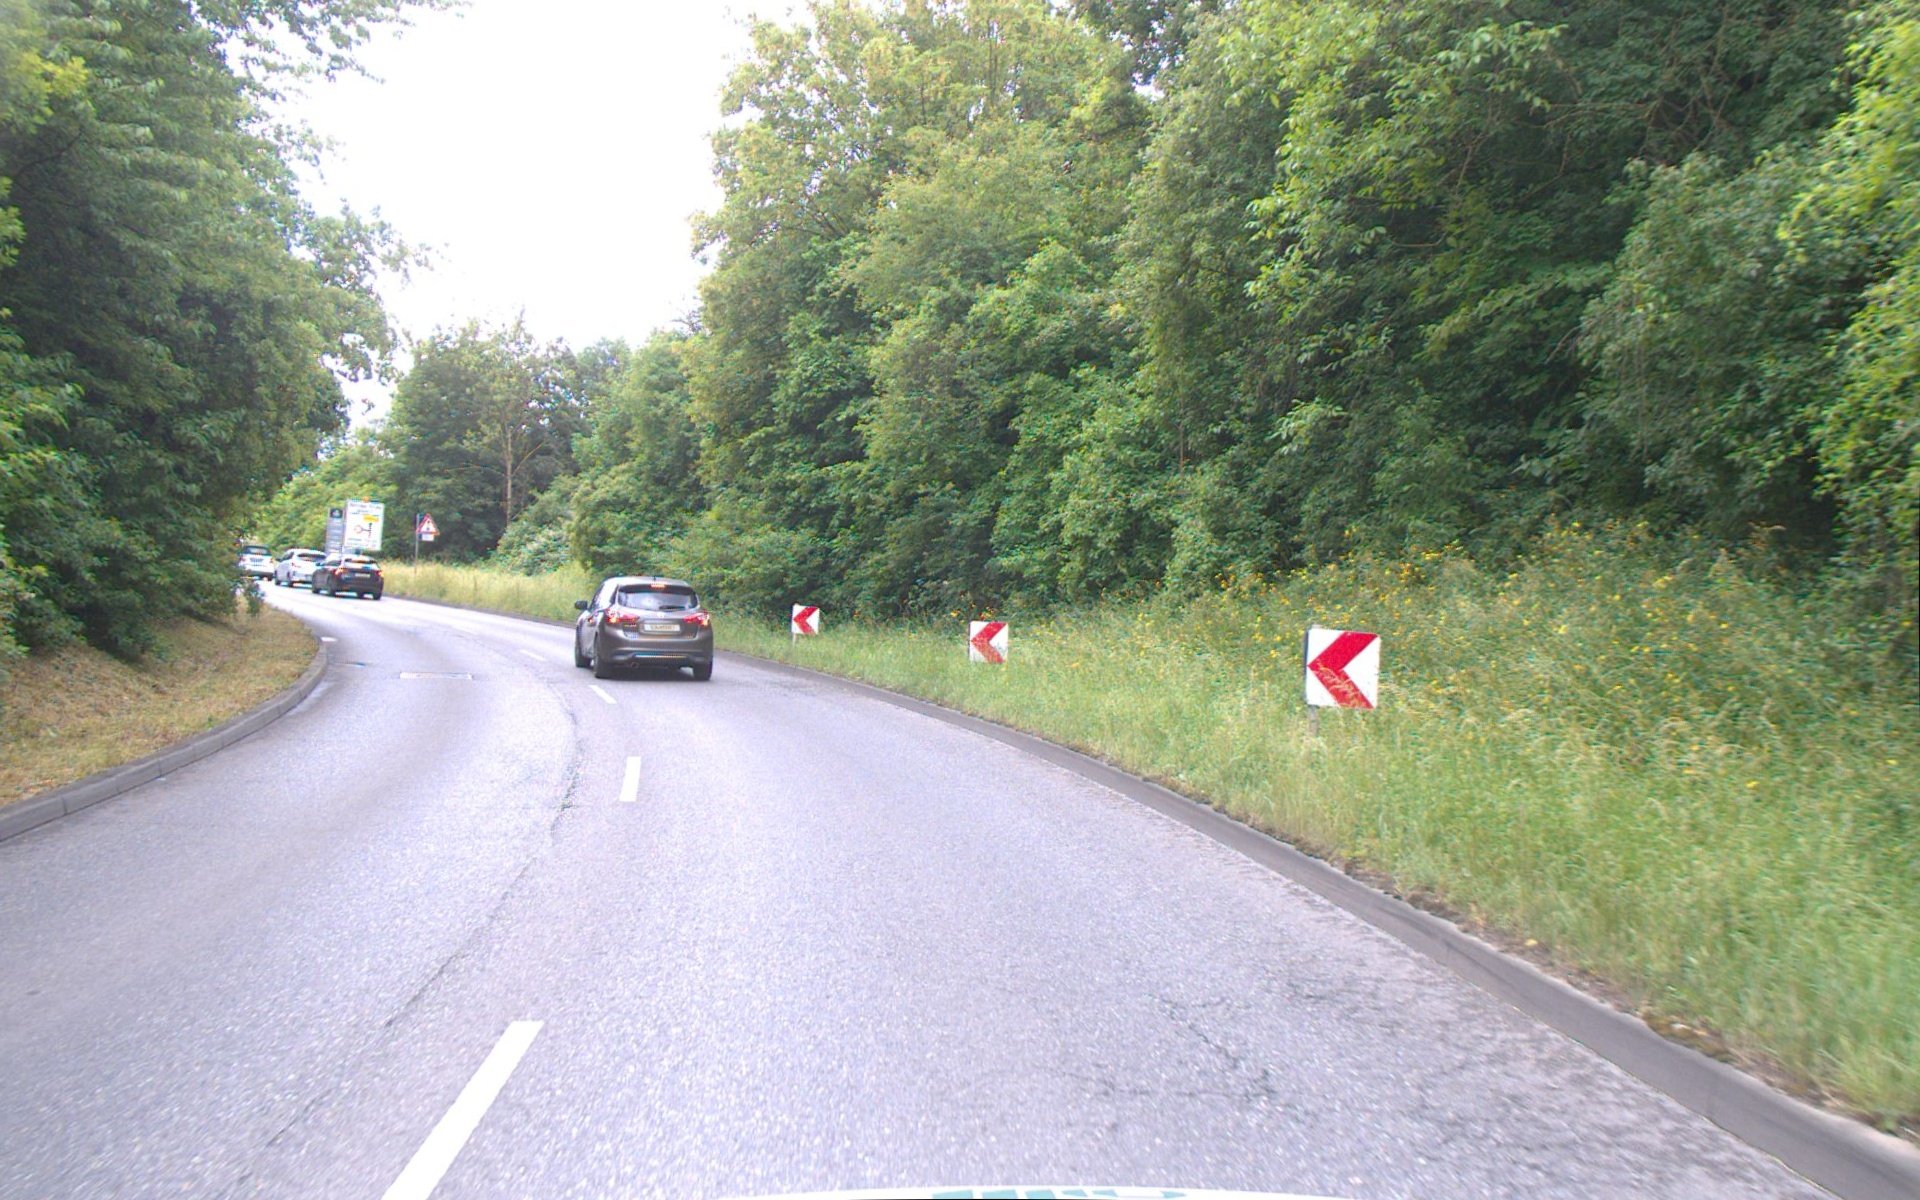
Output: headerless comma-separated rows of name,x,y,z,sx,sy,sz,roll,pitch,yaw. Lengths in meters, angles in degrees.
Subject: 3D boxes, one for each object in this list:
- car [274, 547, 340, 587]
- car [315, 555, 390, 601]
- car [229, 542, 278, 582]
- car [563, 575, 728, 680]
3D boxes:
car,-26.003,-1.313,65.813,1.821,1.411,3.959,2,2,-31
car,-21.156,-0.780,57.507,1.820,1.411,3.962,2,1,-29
car,-31.754,-1.675,74.279,1.750,1.662,3.857,2,-1,-27
car,-5.049,0.395,26.182,1.814,1.509,3.972,-1,0,-22
